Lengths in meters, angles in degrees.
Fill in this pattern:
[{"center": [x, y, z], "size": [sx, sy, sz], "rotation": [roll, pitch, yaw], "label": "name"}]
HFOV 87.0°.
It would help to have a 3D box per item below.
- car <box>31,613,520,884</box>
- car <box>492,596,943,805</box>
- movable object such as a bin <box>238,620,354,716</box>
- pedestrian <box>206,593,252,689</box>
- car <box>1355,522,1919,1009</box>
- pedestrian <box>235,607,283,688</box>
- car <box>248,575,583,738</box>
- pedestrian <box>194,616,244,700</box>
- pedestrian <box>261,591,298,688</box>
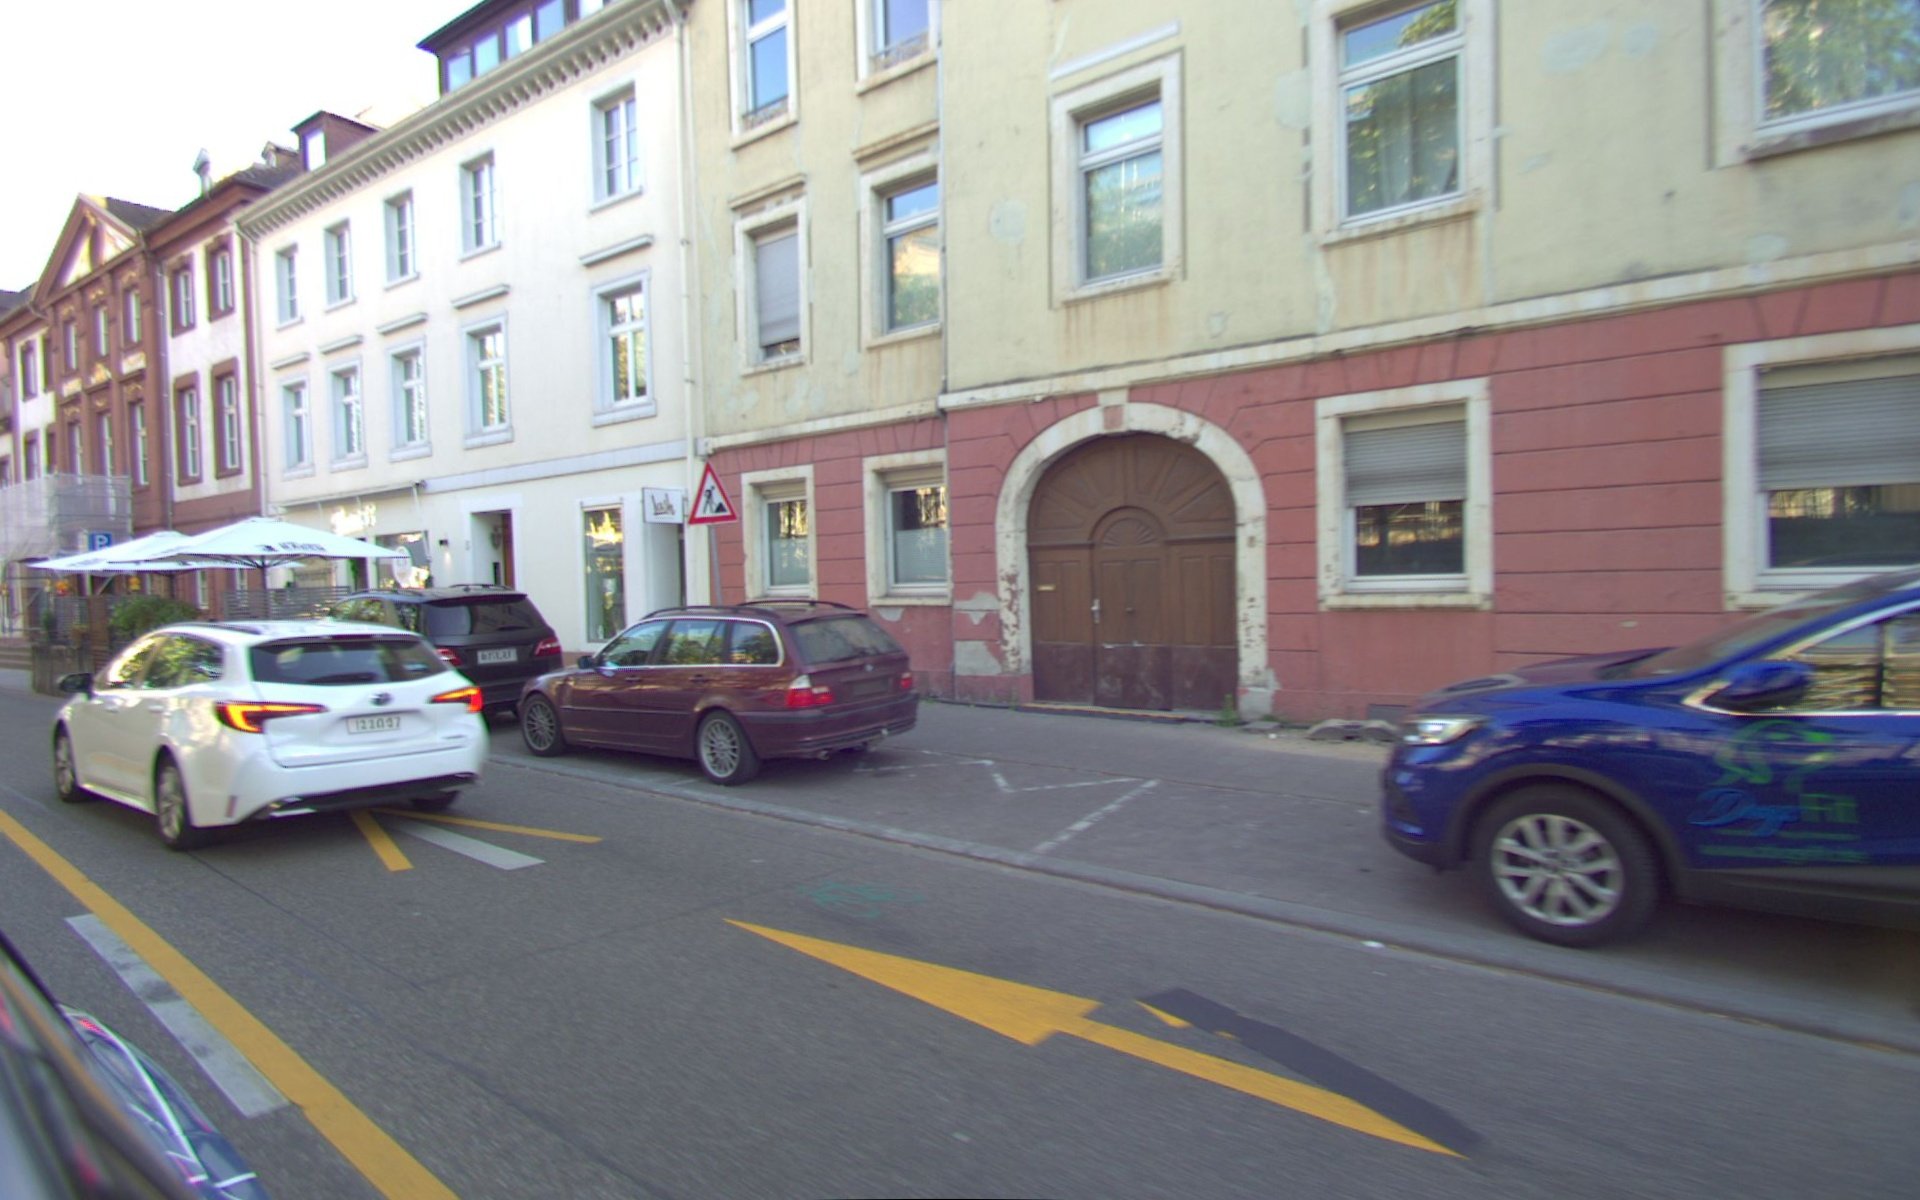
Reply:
[{"center": [-5.259, 0.842, 7.532], "size": [4.422, 1.432, 1.719], "rotation": [-1, 0, 38], "label": "car"}, {"center": [-2.398, 0.763, 9.373], "size": [4.421, 1.491, 1.638], "rotation": [-1, 0, 38], "label": "car"}, {"center": [-9.853, 0.967, 15.026], "size": [0.929, 1.305, 1.204], "rotation": [-1, 1, 40], "label": "movable object such as a bin"}, {"center": [-13.960, 0.775, 19.324], "size": [0.439, 1.788, 0.589], "rotation": [-1, 1, 44], "label": "pedestrian"}, {"center": [4.122, 0.549, 4.046], "size": [4.345, 1.680, 1.914], "rotation": [-1, 0, 41], "label": "car"}, {"center": [-12.551, 0.845, 18.131], "size": [0.487, 1.401, 0.519], "rotation": [-1, 1, 32], "label": "pedestrian"}, {"center": [-6.970, 0.607, 12.733], "size": [4.777, 1.692, 1.904], "rotation": [-1, 0, 37], "label": "car"}, {"center": [-12.902, 0.998, 17.615], "size": [0.487, 1.401, 0.519], "rotation": [-1, 1, 32], "label": "pedestrian"}, {"center": [-12.823, 0.726, 19.068], "size": [0.432, 1.788, 0.598], "rotation": [-2, 1, -42], "label": "pedestrian"}]
